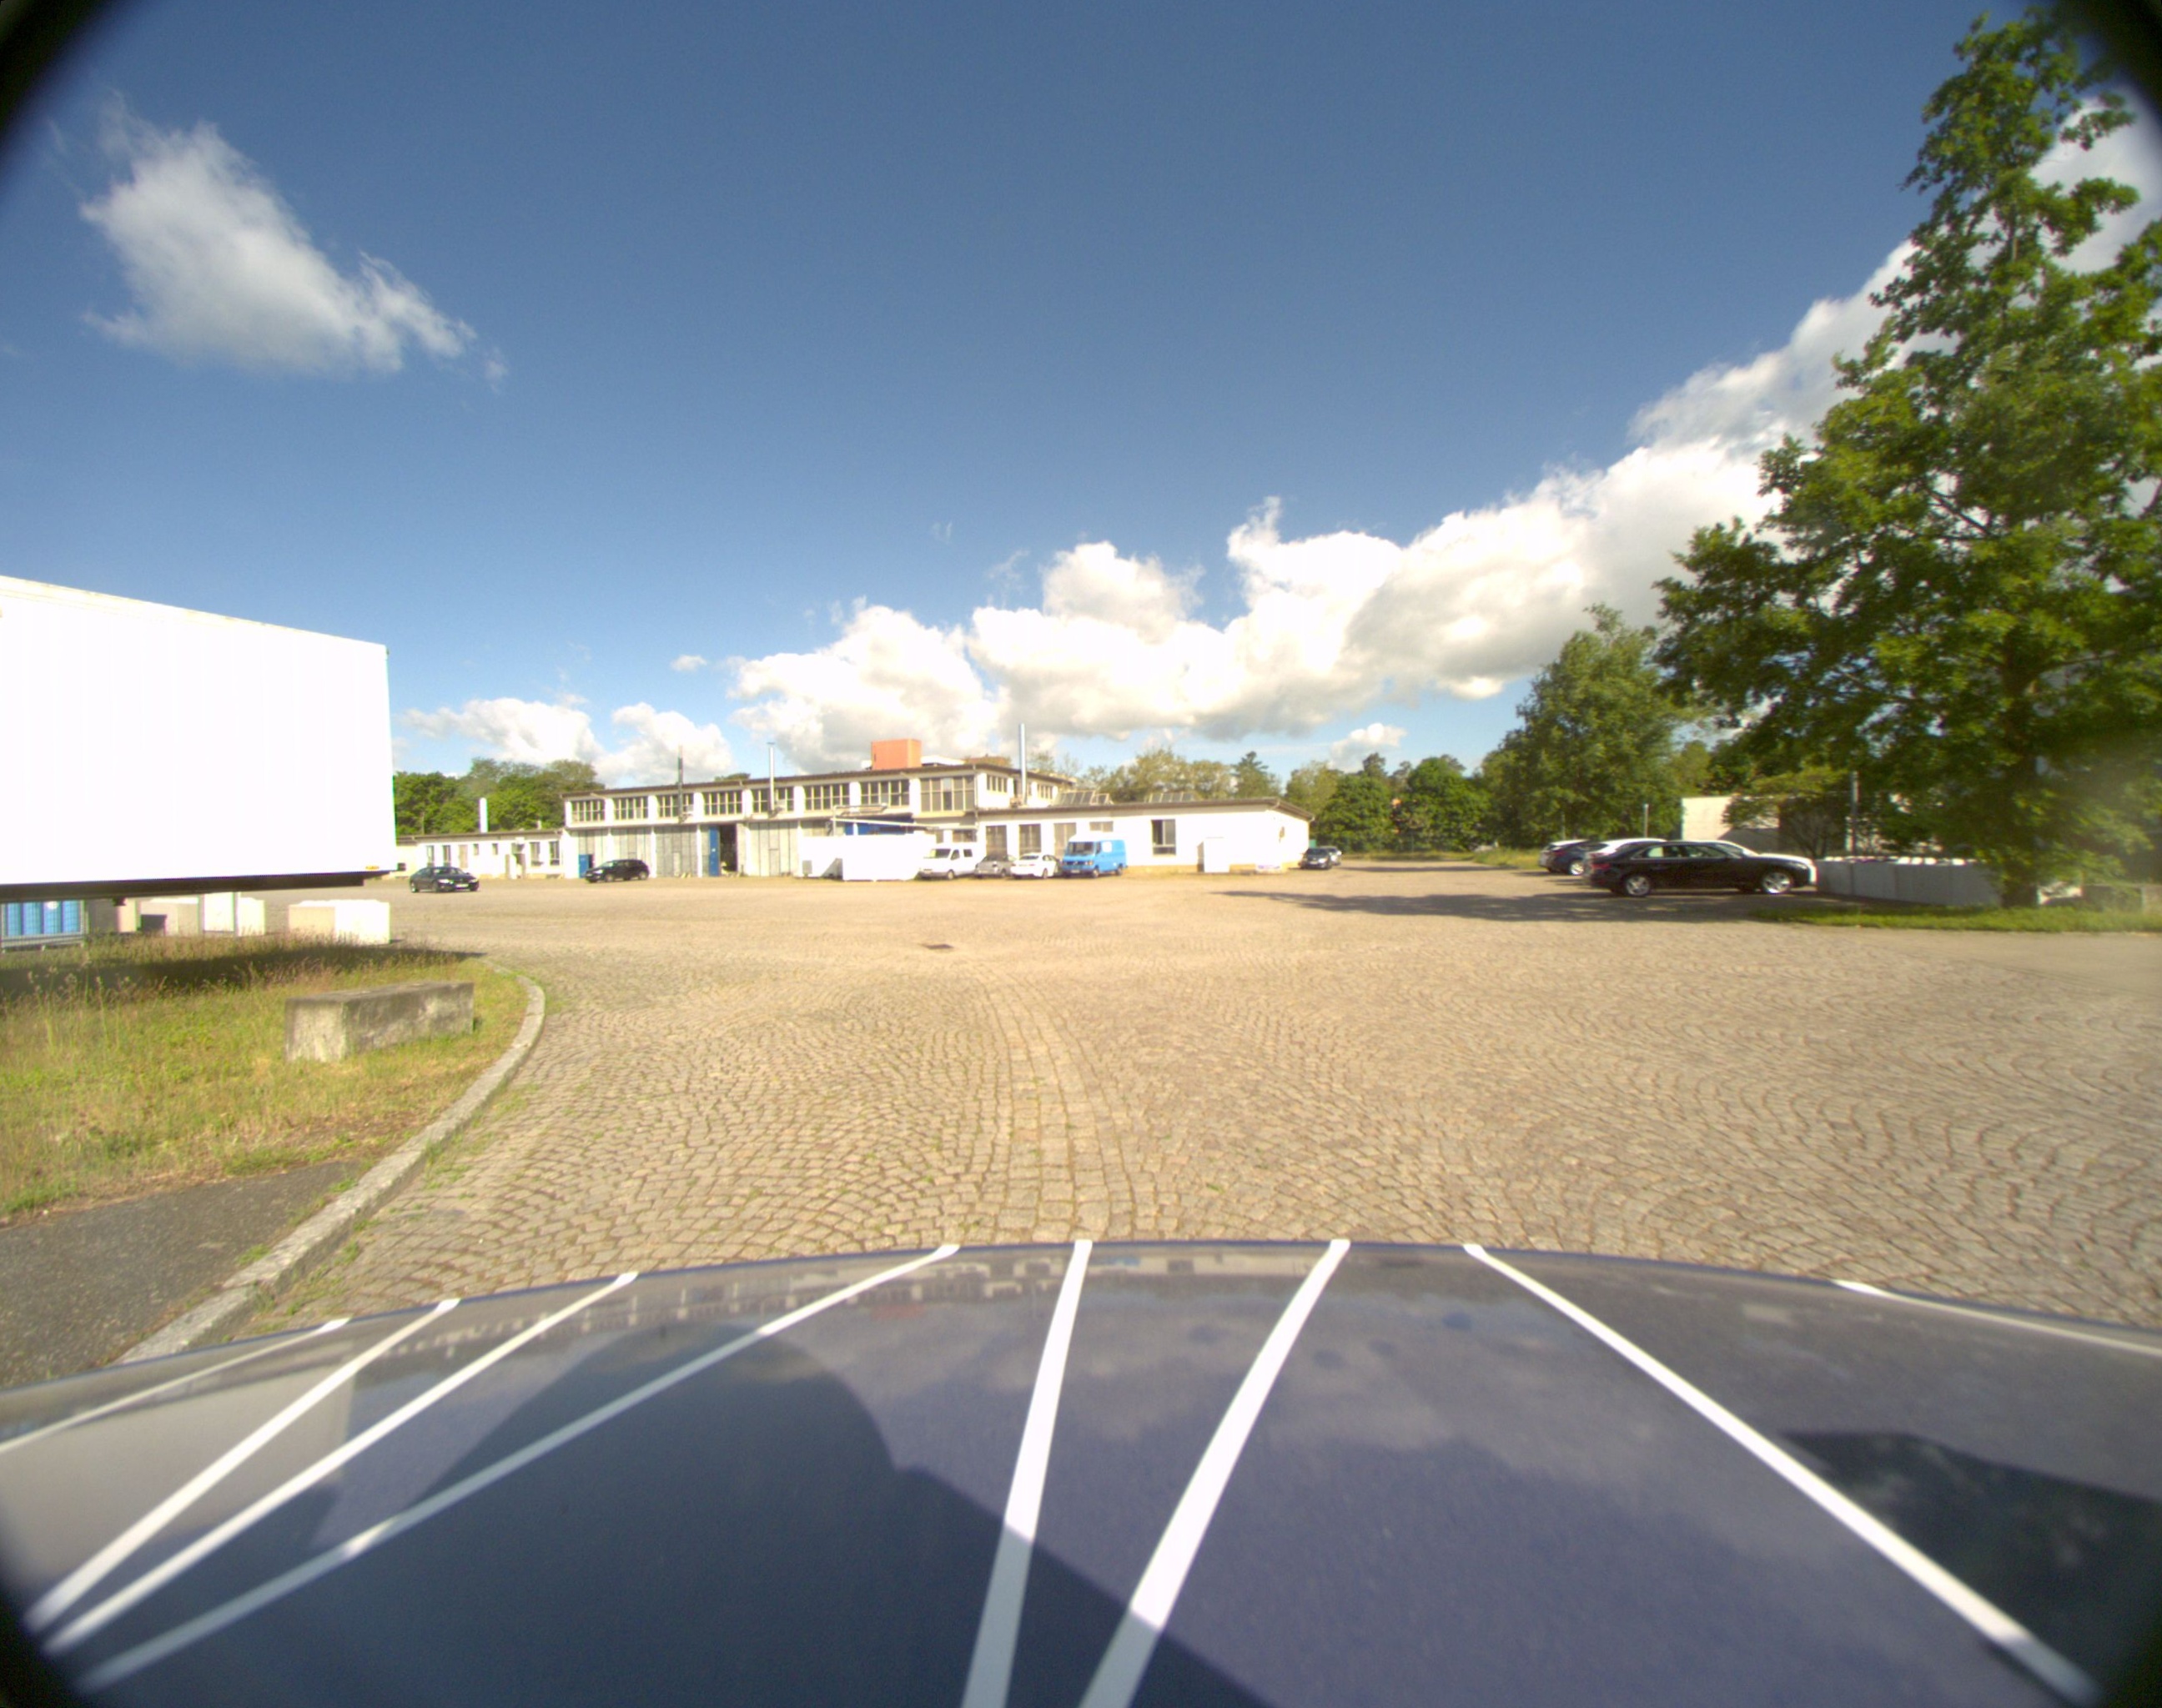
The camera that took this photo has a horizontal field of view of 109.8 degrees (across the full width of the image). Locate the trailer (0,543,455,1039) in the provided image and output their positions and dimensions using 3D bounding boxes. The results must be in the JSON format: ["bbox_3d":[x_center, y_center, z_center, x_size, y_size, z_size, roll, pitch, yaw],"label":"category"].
[{"bbox_3d":[-10.728,-0.424,4.272,2.774,3.888,10.903,-1,1,24],"label":"trailer"}]

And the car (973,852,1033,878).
[{"bbox_3d":[-4.474,0.597,44.163,1.688,1.390,3.837,-1,1,25],"label":"car"}]

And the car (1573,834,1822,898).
[{"bbox_3d":[15.920,0.317,19.946,4.724,1.414,1.759,-3,0,21],"label":"car"}]

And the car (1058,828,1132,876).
[{"bbox_3d":[0.855,-0.128,42.294,2.084,2.469,5.247,-1,1,25],"label":"car"}]

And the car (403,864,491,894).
[{"bbox_3d":[-33.818,1.324,40.543,4.067,1.421,1.743,-2,1,20],"label":"car"}]

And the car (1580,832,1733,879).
[{"bbox_3d":[20.046,0.056,26.657,3.916,1.438,1.758,-3,0,23],"label":"car"}]

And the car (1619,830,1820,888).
[{"bbox_3d":[18.216,0.162,21.941,4.141,1.451,1.694,-3,0,27],"label":"car"}]

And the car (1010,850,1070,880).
[{"bbox_3d":[-2.237,0.585,42.224,1.734,1.398,3.744,-2,2,25],"label":"car"}]

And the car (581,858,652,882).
[{"bbox_3d":[-33.187,1.137,54.424,1.737,1.461,4.081,-2,1,21],"label":"car"}]

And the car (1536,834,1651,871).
[{"bbox_3d":[22.812,-0.072,33.998,3.916,1.427,1.798,-3,0,23],"label":"car"}]

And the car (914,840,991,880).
[{"bbox_3d":[-7.436,0.307,44.612,2.005,2.070,4.812,-1,1,25],"label":"car"}]

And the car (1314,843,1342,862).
[{"bbox_3d":[19.047,-0.123,58.575,1.688,1.427,3.993,-1,1,23],"label":"car"}]

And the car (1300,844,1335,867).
[{"bbox_3d":[15.319,0.071,49.046,1.765,1.427,3.998,-1,1,23],"label":"car"}]

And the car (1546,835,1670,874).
[{"bbox_3d":[21.743,0.033,31.523,3.916,1.409,1.695,-3,0,23],"label":"car"}]
